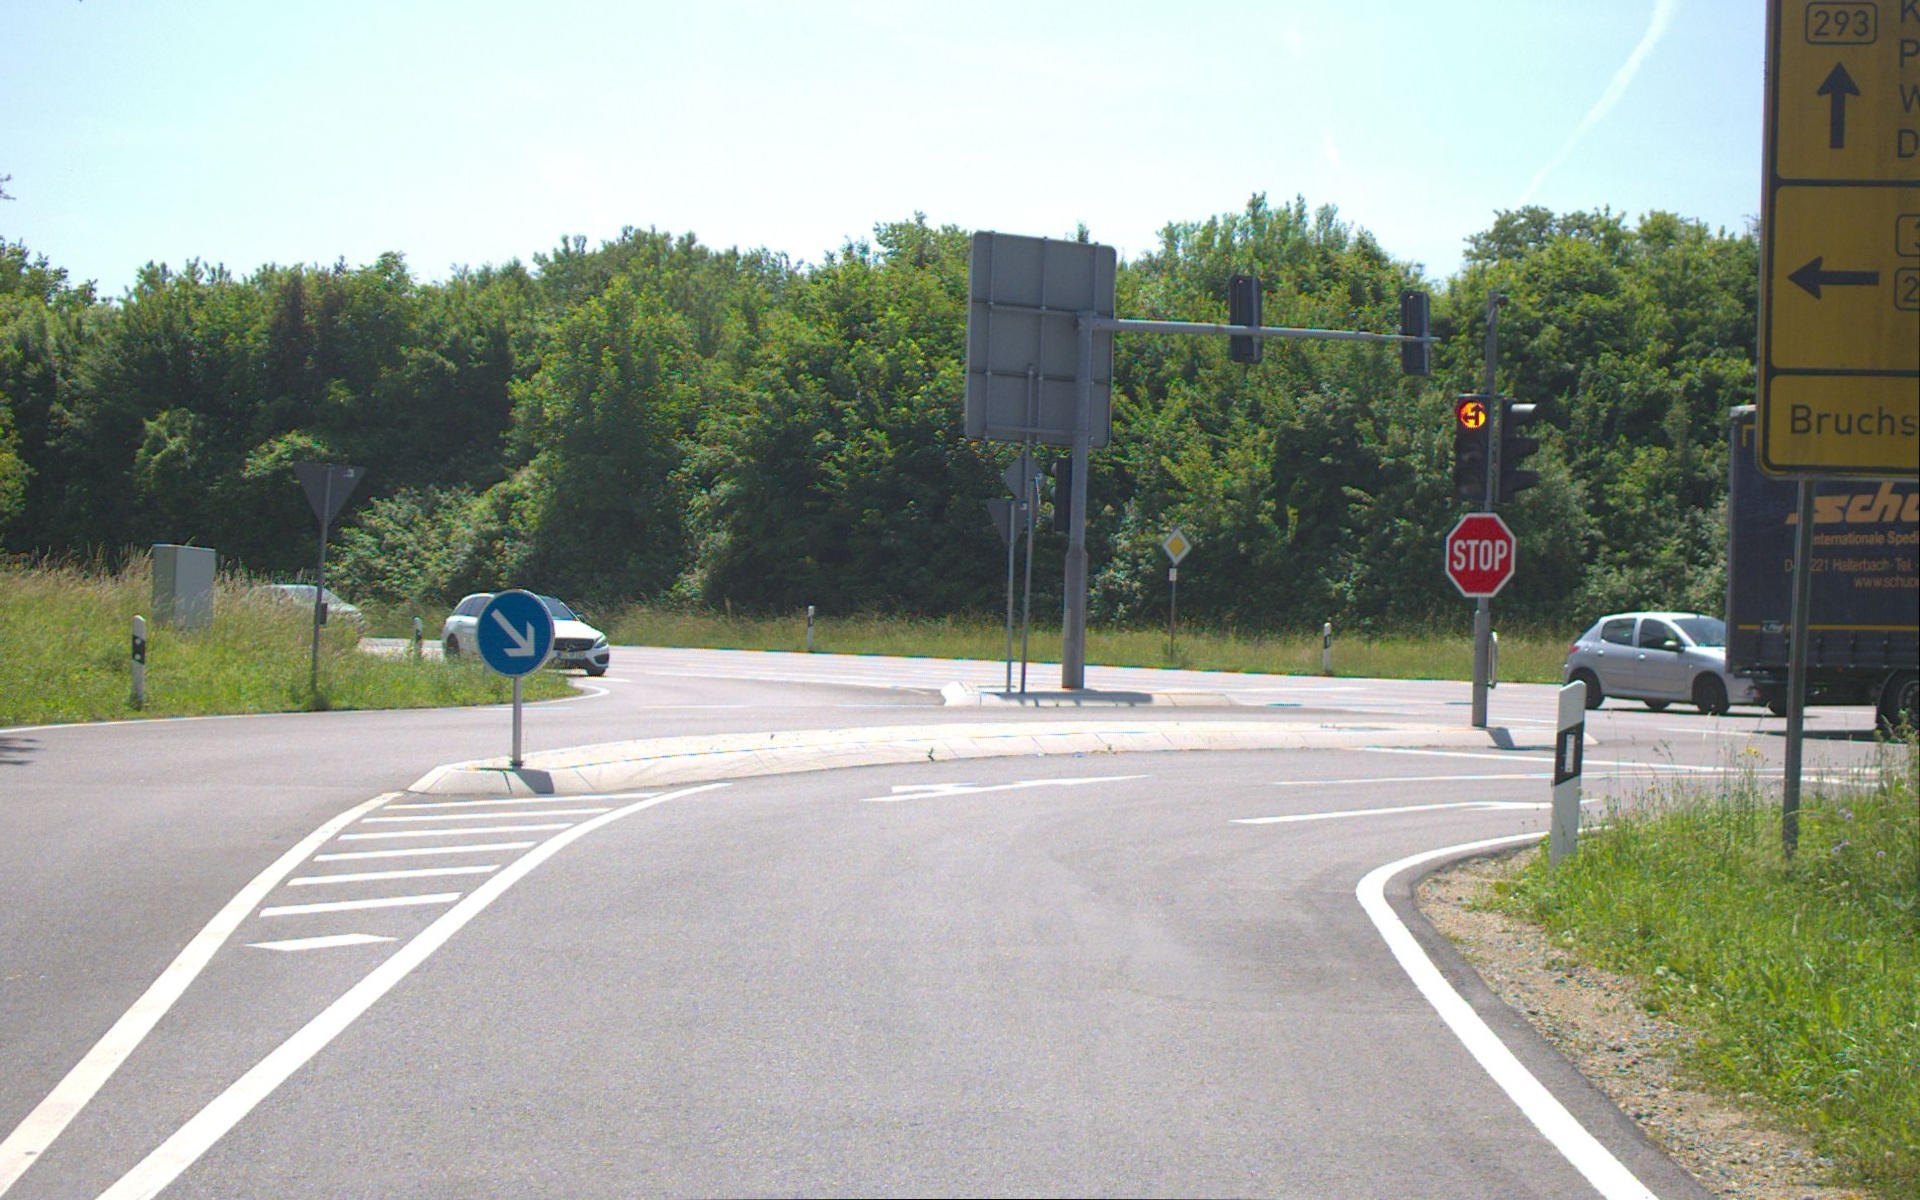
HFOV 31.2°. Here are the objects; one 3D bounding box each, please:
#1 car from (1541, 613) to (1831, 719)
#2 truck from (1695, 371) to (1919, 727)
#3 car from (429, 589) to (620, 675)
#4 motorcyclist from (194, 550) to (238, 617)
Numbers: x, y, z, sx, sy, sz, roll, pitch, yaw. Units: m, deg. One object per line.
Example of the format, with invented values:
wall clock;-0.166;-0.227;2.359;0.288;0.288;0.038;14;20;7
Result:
car;10.345;0.915;49.187;1.813;1.408;3.783;0;0;-37
truck;14.802;-0.496;36.381;2.842;4.117;16.812;1;0;-32
car;-7.936;0.556;62.200;1.804;1.407;5.335;1;0;-26
motorcyclist;-20.514;-0.443;94.795;0.837;1.837;0.898;-1;0;-45
